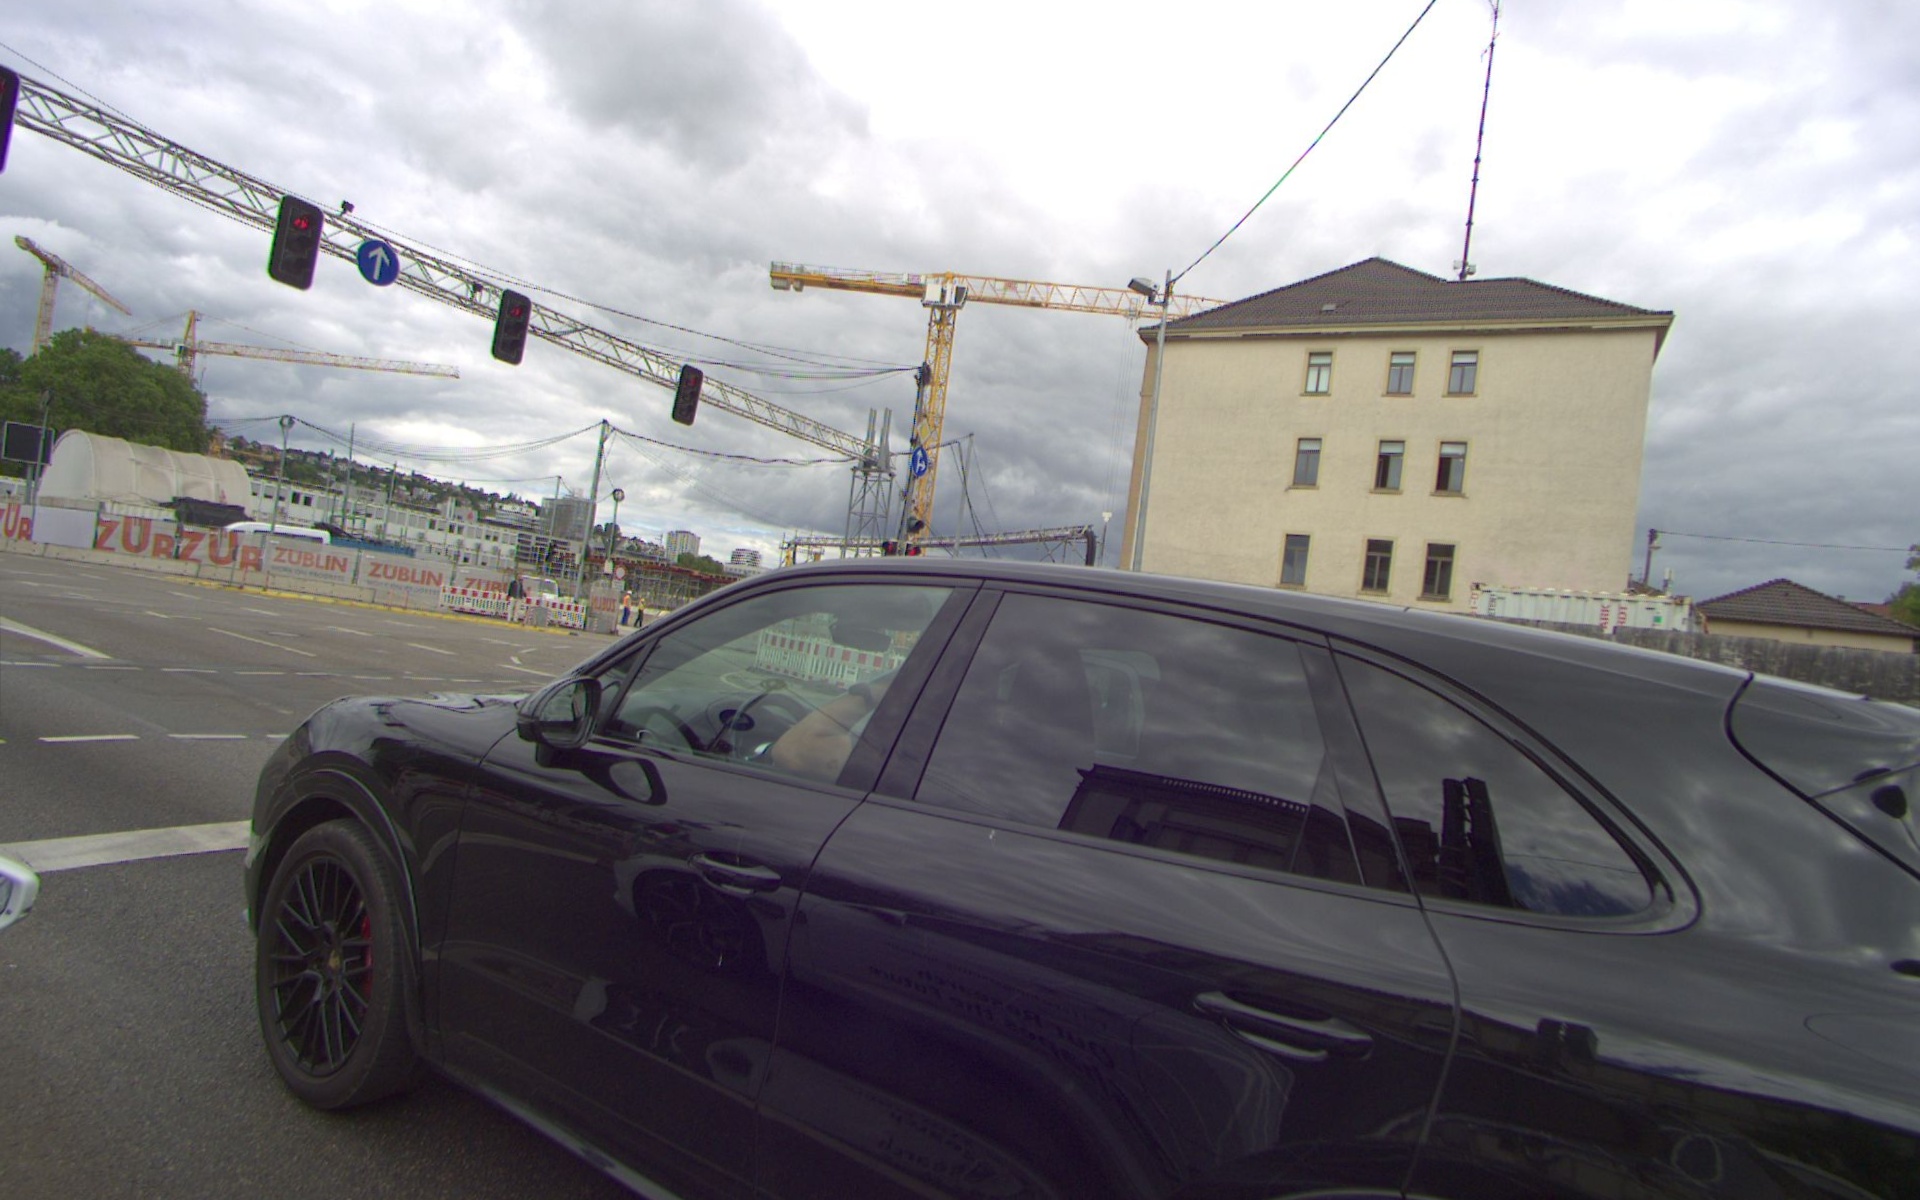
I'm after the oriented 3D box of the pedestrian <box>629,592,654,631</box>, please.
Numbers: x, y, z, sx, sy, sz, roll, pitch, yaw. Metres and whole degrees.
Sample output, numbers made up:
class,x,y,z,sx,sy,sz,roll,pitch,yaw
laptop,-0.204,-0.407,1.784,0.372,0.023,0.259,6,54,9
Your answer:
class,x,y,z,sx,sy,sz,roll,pitch,yaw
pedestrian,-17.242,0.622,54.467,0.850,1.938,0.680,7,-1,26

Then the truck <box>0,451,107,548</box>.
class,x,y,z,sx,sy,sz,roll,pitch,yaw
truck,-57.715,-6.343,60.214,3.054,5.017,9.759,7,-2,14

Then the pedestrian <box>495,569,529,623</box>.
class,x,y,z,sx,sy,sz,roll,pitch,yaw
pedestrian,-18.156,-0.165,40.752,1.021,2.037,1.040,8,-1,-25

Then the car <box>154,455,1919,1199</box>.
class,x,y,z,sx,sy,sz,roll,pitch,yaw
car,0.007,0.687,2.714,4.505,1.687,1.997,6,-2,34

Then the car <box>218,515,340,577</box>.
class,x,y,z,sx,sy,sz,roll,pitch,yaw
car,-29.521,-2.328,43.637,3.976,2.037,1.976,9,-2,-43

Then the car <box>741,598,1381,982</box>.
class,x,y,z,sx,sy,sz,roll,pitch,yaw
car,0.588,0.997,6.551,3.587,1.527,1.825,6,-2,33

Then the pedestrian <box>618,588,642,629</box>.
class,x,y,z,sx,sy,sz,roll,pitch,yaw
pedestrian,-17.638,0.444,53.822,0.855,2.037,0.677,6,-1,44

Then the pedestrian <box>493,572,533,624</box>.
class,x,y,z,sx,sy,sz,roll,pitch,yaw
pedestrian,-17.429,-0.068,39.222,1.040,1.869,0.781,8,-1,-42
